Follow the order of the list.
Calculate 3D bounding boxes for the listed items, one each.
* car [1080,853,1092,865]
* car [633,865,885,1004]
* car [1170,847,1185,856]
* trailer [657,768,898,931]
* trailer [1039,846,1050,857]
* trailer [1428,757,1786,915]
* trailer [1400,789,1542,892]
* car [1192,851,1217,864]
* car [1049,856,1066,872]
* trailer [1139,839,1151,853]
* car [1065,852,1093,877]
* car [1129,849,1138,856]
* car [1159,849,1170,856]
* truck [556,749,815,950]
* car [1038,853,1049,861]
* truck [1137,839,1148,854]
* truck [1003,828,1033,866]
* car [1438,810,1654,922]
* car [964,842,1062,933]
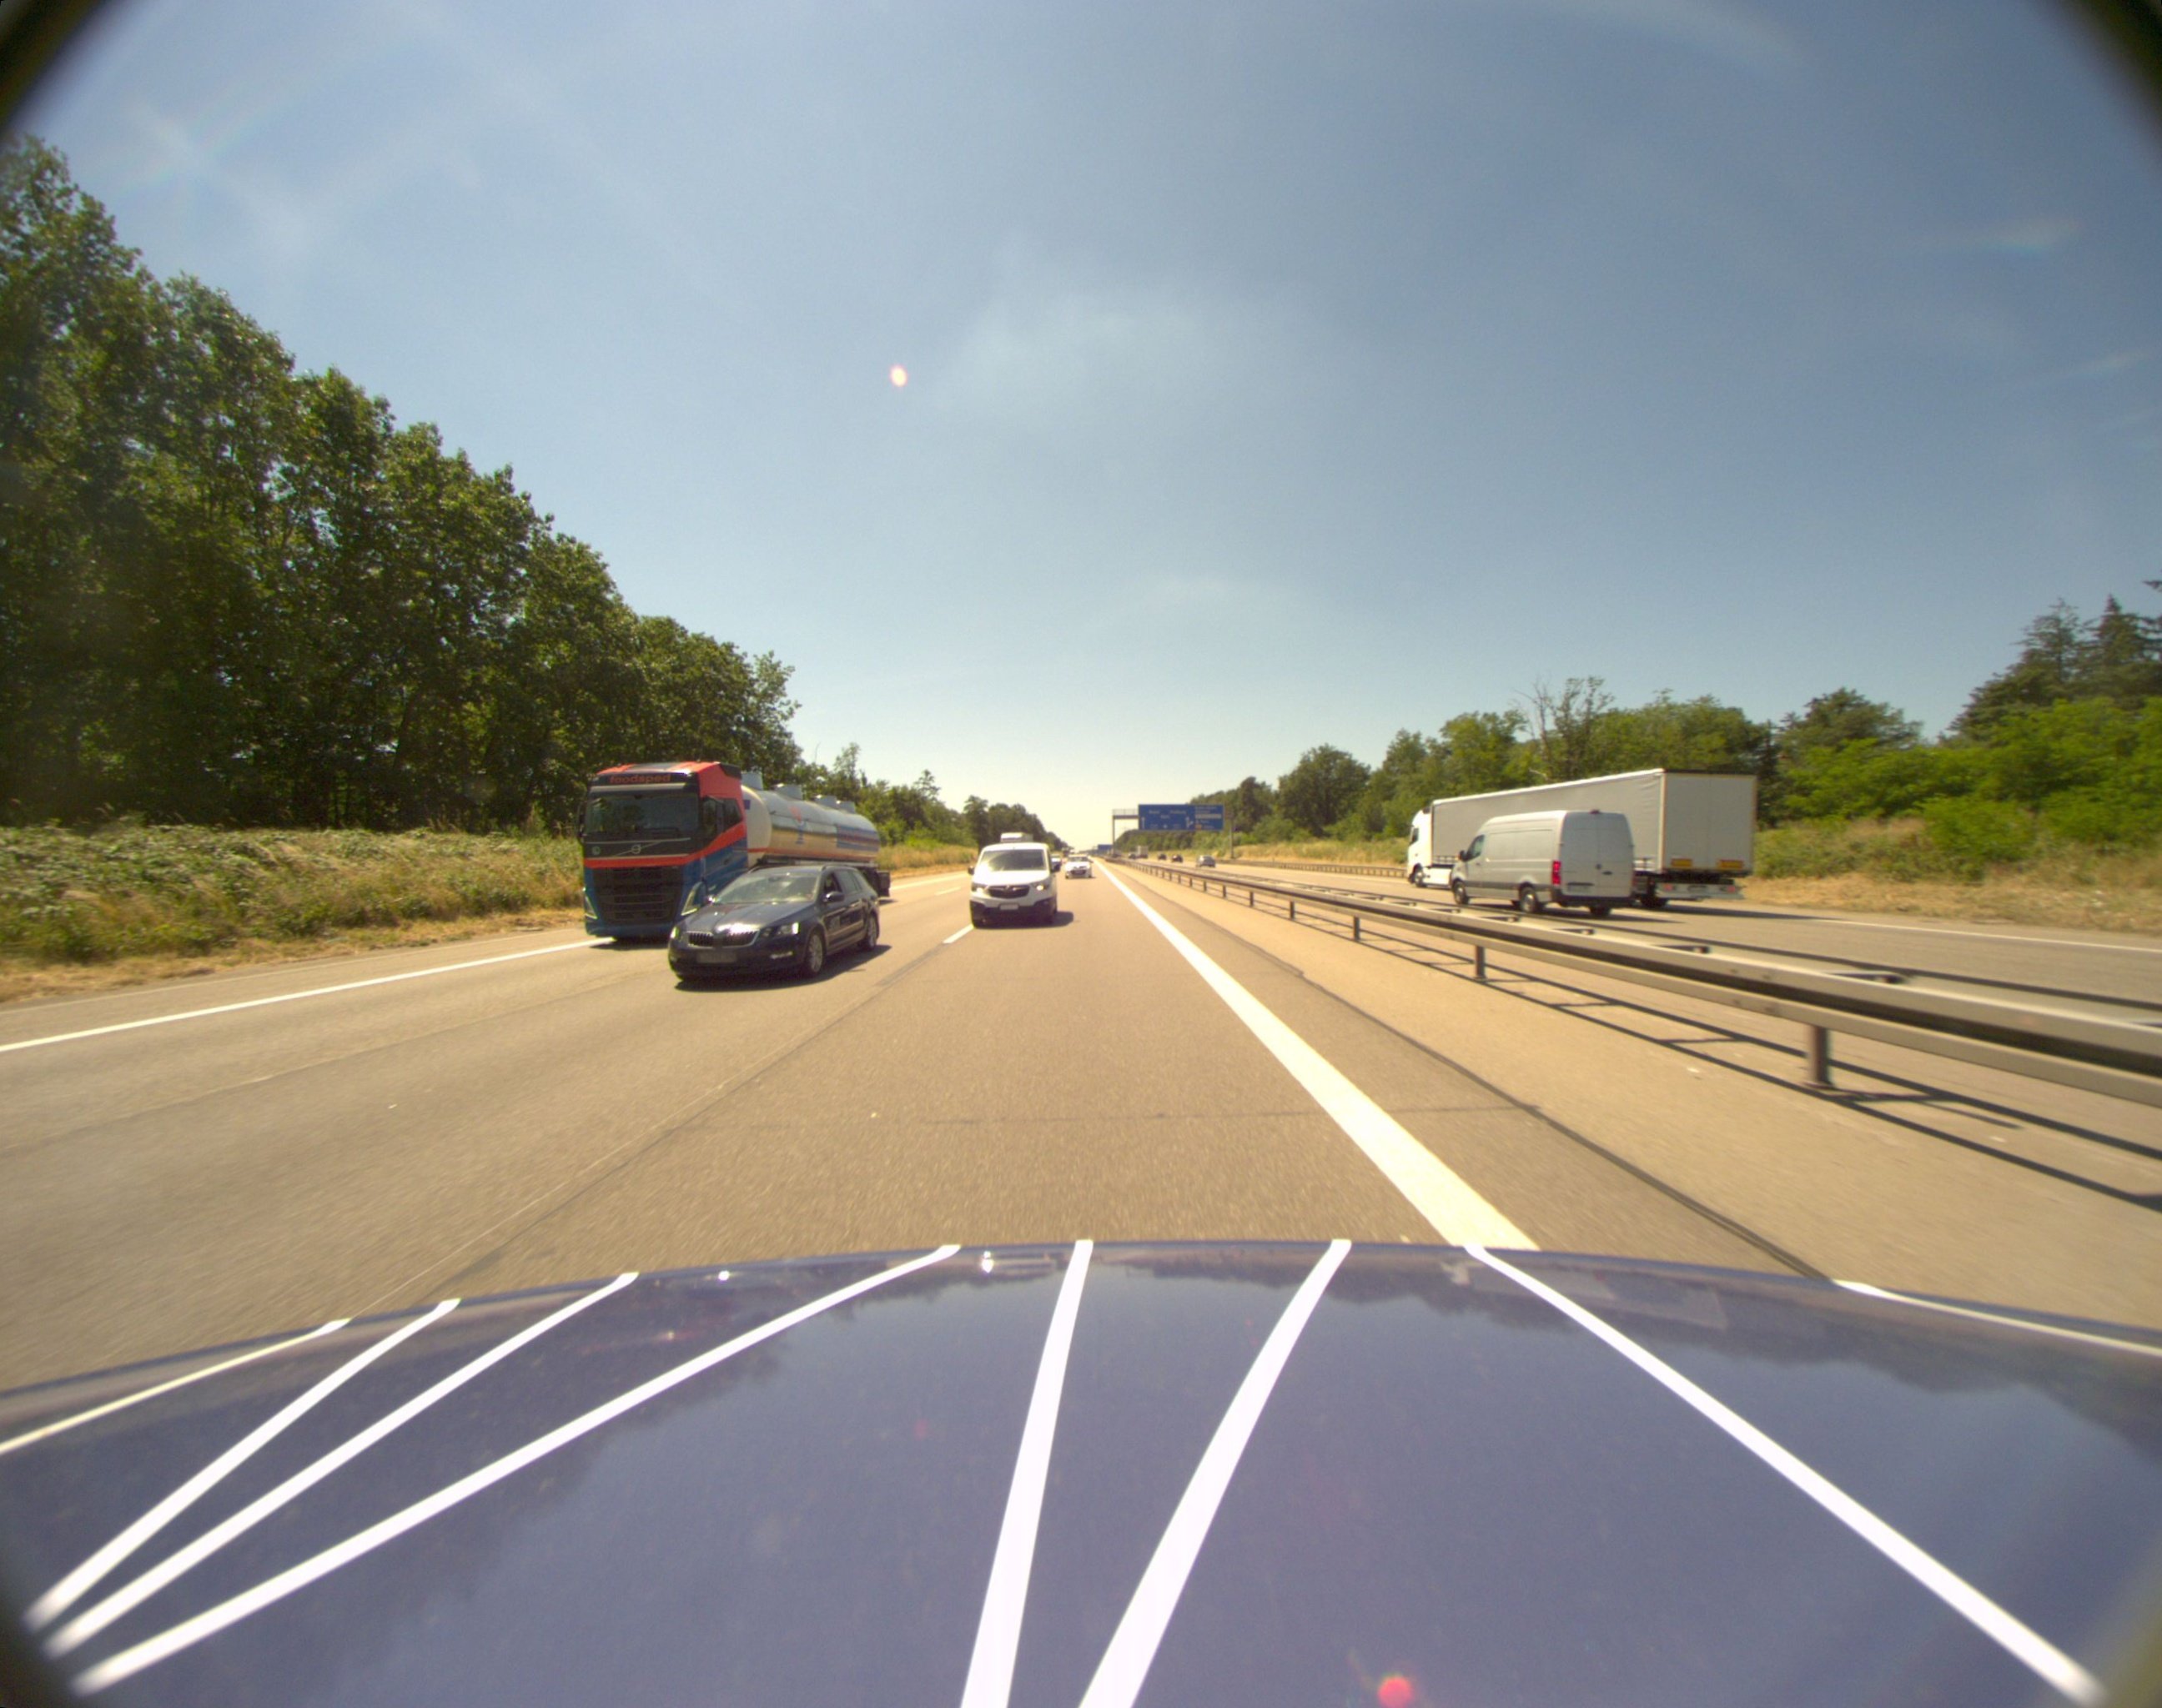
[{"bbox_3d":[0.909,0.827,135.759,1.998,2.002,4.000,-2,1,1],"label":"car"},{"bbox_3d":[-4.357,0.985,11.118,1.806,1.475,4.271,-2,0,0],"label":"car"},{"bbox_3d":[17.043,-0.467,134.256,1.967,1.516,5.289,1,0,0],"label":"car"},{"bbox_3d":[-8.475,-0.147,23.493,2.535,3.712,11.548,-2,0,1],"label":"trailer"},{"bbox_3d":[-7.125,-0.490,147.580,1.849,2.196,3.197,-2,1,0],"label":"trailer"},{"bbox_3d":[17.359,-0.539,27.485,3.163,4.174,14.124,1,1,1],"label":"trailer"},{"bbox_3d":[17.427,-0.593,34.550,3.163,4.174,6.325,1,1,1],"label":"trailer"},{"bbox_3d":[13.925,0.374,85.979,1.967,1.420,5.289,1,0,0],"label":"car"},{"bbox_3d":[-3.007,1.279,99.853,1.998,2.002,4.000,-2,1,0],"label":"car"},{"bbox_3d":[19.943,-2.384,238.518,3.065,4.258,8.634,0,0,1],"label":"trailer"},{"bbox_3d":[-0.094,0.621,47.043,1.581,1.412,3.352,-2,1,1],"label":"car"},{"bbox_3d":[13.067,-0.374,188.507,1.967,1.708,5.289,1,0,0],"label":"car"},{"bbox_3d":[19.698,-0.358,179.370,1.836,1.545,4.949,1,0,0],"label":"car"},{"bbox_3d":[-8.544,-0.101,17.424,2.535,3.712,6.098,-2,1,1],"label":"truck"},{"bbox_3d":[-7.130,0.567,144.325,1.845,1.275,3.352,-2,0,0],"label":"car"},{"bbox_3d":[20.042,-2.449,248.394,3.065,4.532,10.458,0,0,1],"label":"truck"},{"bbox_3d":[-7.059,-0.767,85.619,2.603,3.980,6.173,-2,1,1],"label":"truck"},{"bbox_3d":[12.302,0.257,20.851,1.998,2.555,6.389,1,1,1],"label":"car"},{"bbox_3d":[-1.470,0.682,18.163,1.871,1.807,4.940,-2,0,-1],"label":"car"}]
